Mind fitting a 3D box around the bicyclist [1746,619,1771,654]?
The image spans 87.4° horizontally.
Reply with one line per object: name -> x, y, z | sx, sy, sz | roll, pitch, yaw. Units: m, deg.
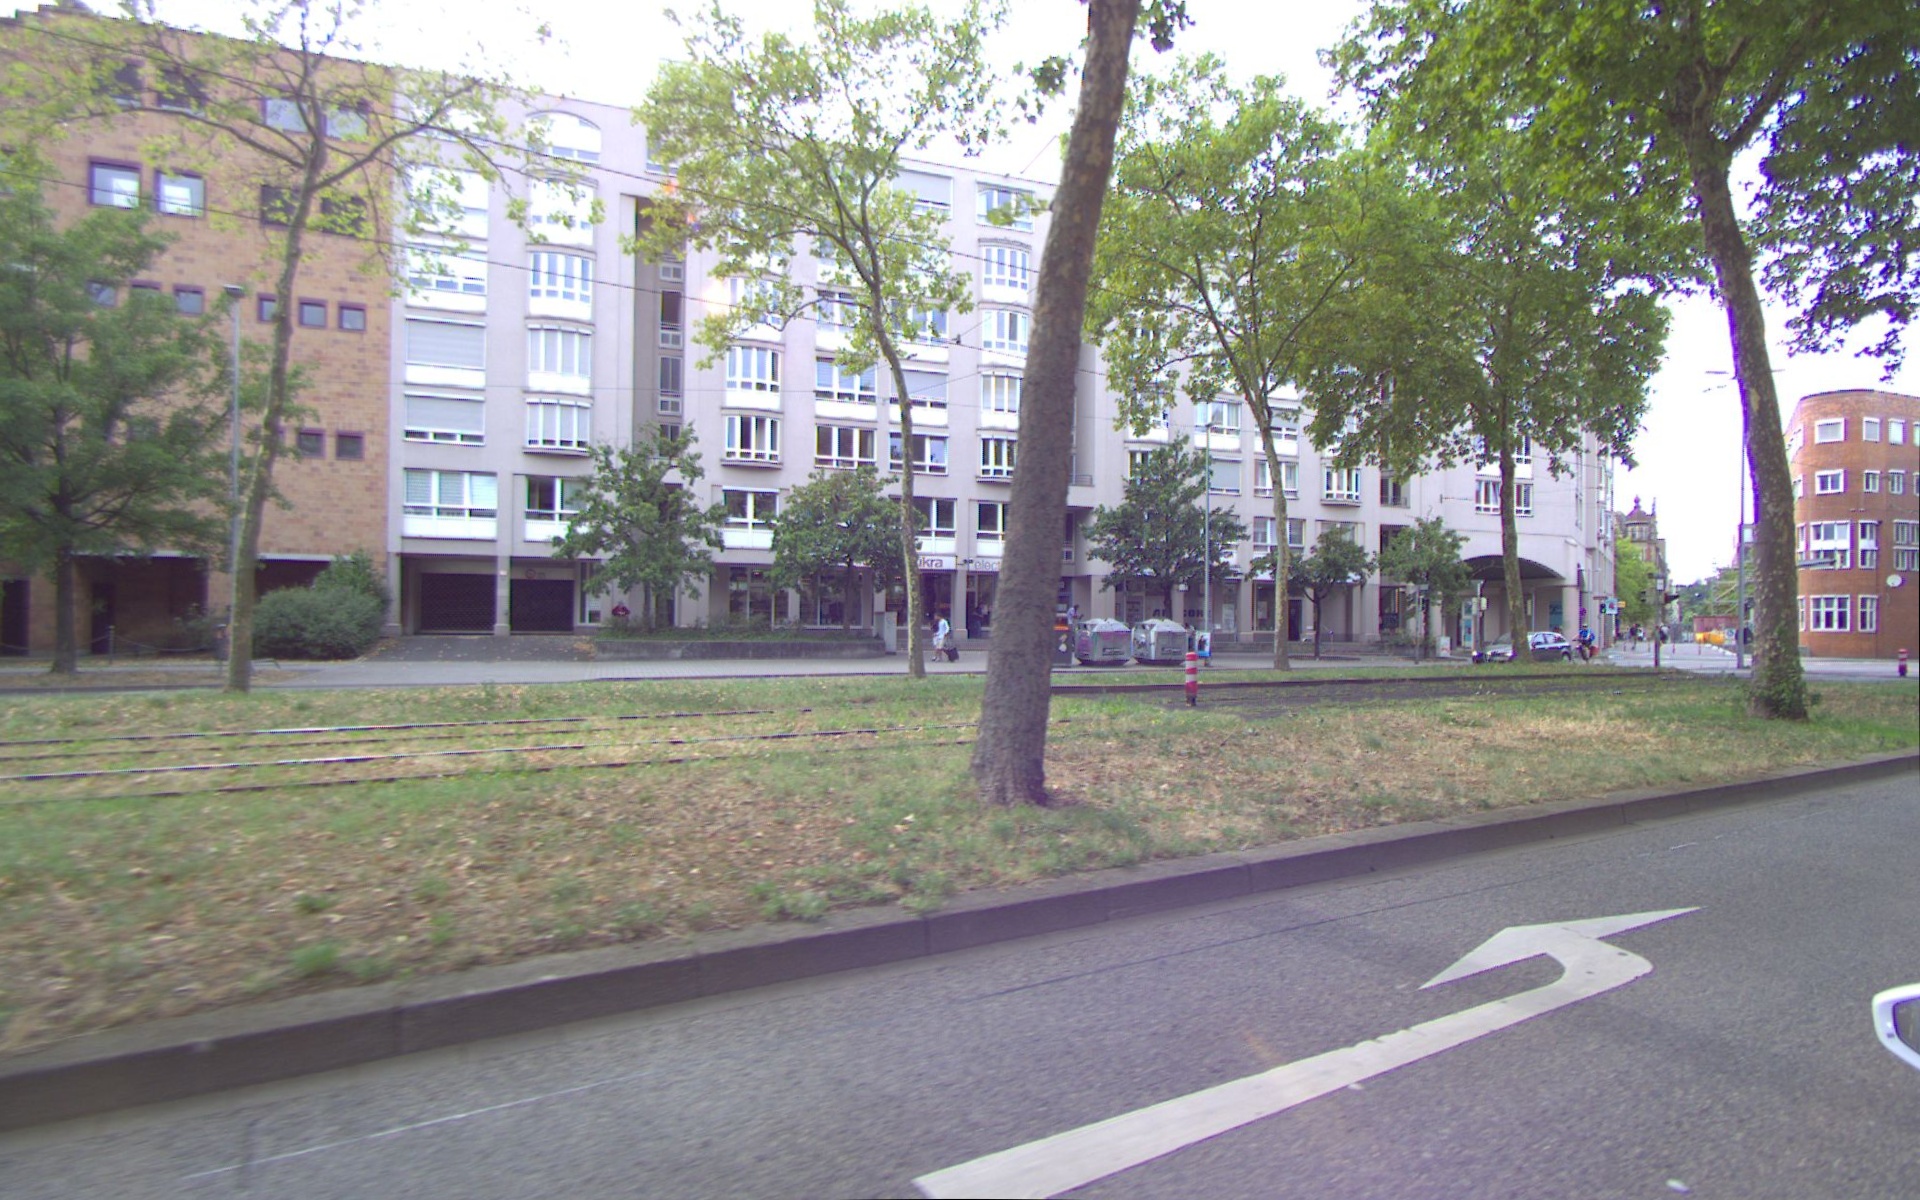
bicyclist -> 43.885, 2.003, 55.198 | 1.067, 1.872, 0.664 | 1, -2, -26

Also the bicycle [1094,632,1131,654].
bicycle -> 6.682, 1.874, 44.056 | 1.610, 0.956, 0.438 | 1, -1, -24

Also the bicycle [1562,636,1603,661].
bicycle -> 28.249, 2.180, 45.563 | 1.851, 1.106, 0.689 | 1, -1, -24

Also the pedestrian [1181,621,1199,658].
pedestrian -> 9.772, 1.675, 42.703 | 0.526, 1.550, 0.512 | 1, -1, -22

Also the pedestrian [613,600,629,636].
pedestrian -> -12.771, 0.689, 37.813 | 0.546, 1.340, 0.457 | 1, -1, -20

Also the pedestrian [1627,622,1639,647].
pedestrian -> 46.975, 2.401, 70.130 | 0.664, 1.702, 0.751 | 0, -1, 32

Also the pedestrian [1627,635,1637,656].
pedestrian -> 66.111, 4.494, 98.818 | 0.851, 2.040, 1.340 | 0, -1, 35

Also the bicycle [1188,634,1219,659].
bicycle -> 10.061, 1.909, 41.493 | 0.433, 0.956, 1.626 | 1, -1, -18

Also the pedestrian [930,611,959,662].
pedestrian -> -0.539, 1.263, 34.923 | 0.873, 1.728, 0.550 | 1, -1, -27

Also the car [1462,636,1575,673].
car -> 20.603, 1.990, 37.021 | 4.484, 1.261, 1.720 | 1, -1, -32

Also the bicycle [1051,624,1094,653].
bicycle -> 4.836, 1.631, 43.142 | 1.813, 1.228, 0.532 | 1, -1, -24

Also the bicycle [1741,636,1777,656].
bicycle -> 43.914, 2.523, 55.206 | 2.180, 1.107, 0.675 | 1, -2, -27

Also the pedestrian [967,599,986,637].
pedestrian -> 0.759, 0.809, 45.015 | 0.650, 1.694, 0.635 | 1, -1, -22

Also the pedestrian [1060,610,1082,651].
pedestrian -> 4.996, 1.364, 45.179 | 0.682, 1.833, 0.768 | 1, -1, -21

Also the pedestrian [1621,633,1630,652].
pedestrian -> 58.509, 3.740, 88.335 | 0.682, 1.693, 0.829 | 0, -1, 33

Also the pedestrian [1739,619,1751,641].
pedestrian -> 63.582, 2.427, 81.384 | 0.682, 1.841, 0.654 | 0, -1, 33

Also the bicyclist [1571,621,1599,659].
bicyclist -> 28.393, 1.795, 45.636 | 0.940, 1.695, 0.688 | 1, -1, -24

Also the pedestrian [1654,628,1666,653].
pedestrian -> 56.275, 3.274, 80.778 | 0.779, 1.990, 0.803 | 0, -1, 35

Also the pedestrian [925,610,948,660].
pedestrian -> -0.831, 1.228, 35.501 | 0.618, 1.728, 0.550 | 1, -1, -26

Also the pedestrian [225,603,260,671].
pedestrian -> -18.309, 0.937, 25.639 | 0.618, 1.728, 0.550 | 1, -1, -26
